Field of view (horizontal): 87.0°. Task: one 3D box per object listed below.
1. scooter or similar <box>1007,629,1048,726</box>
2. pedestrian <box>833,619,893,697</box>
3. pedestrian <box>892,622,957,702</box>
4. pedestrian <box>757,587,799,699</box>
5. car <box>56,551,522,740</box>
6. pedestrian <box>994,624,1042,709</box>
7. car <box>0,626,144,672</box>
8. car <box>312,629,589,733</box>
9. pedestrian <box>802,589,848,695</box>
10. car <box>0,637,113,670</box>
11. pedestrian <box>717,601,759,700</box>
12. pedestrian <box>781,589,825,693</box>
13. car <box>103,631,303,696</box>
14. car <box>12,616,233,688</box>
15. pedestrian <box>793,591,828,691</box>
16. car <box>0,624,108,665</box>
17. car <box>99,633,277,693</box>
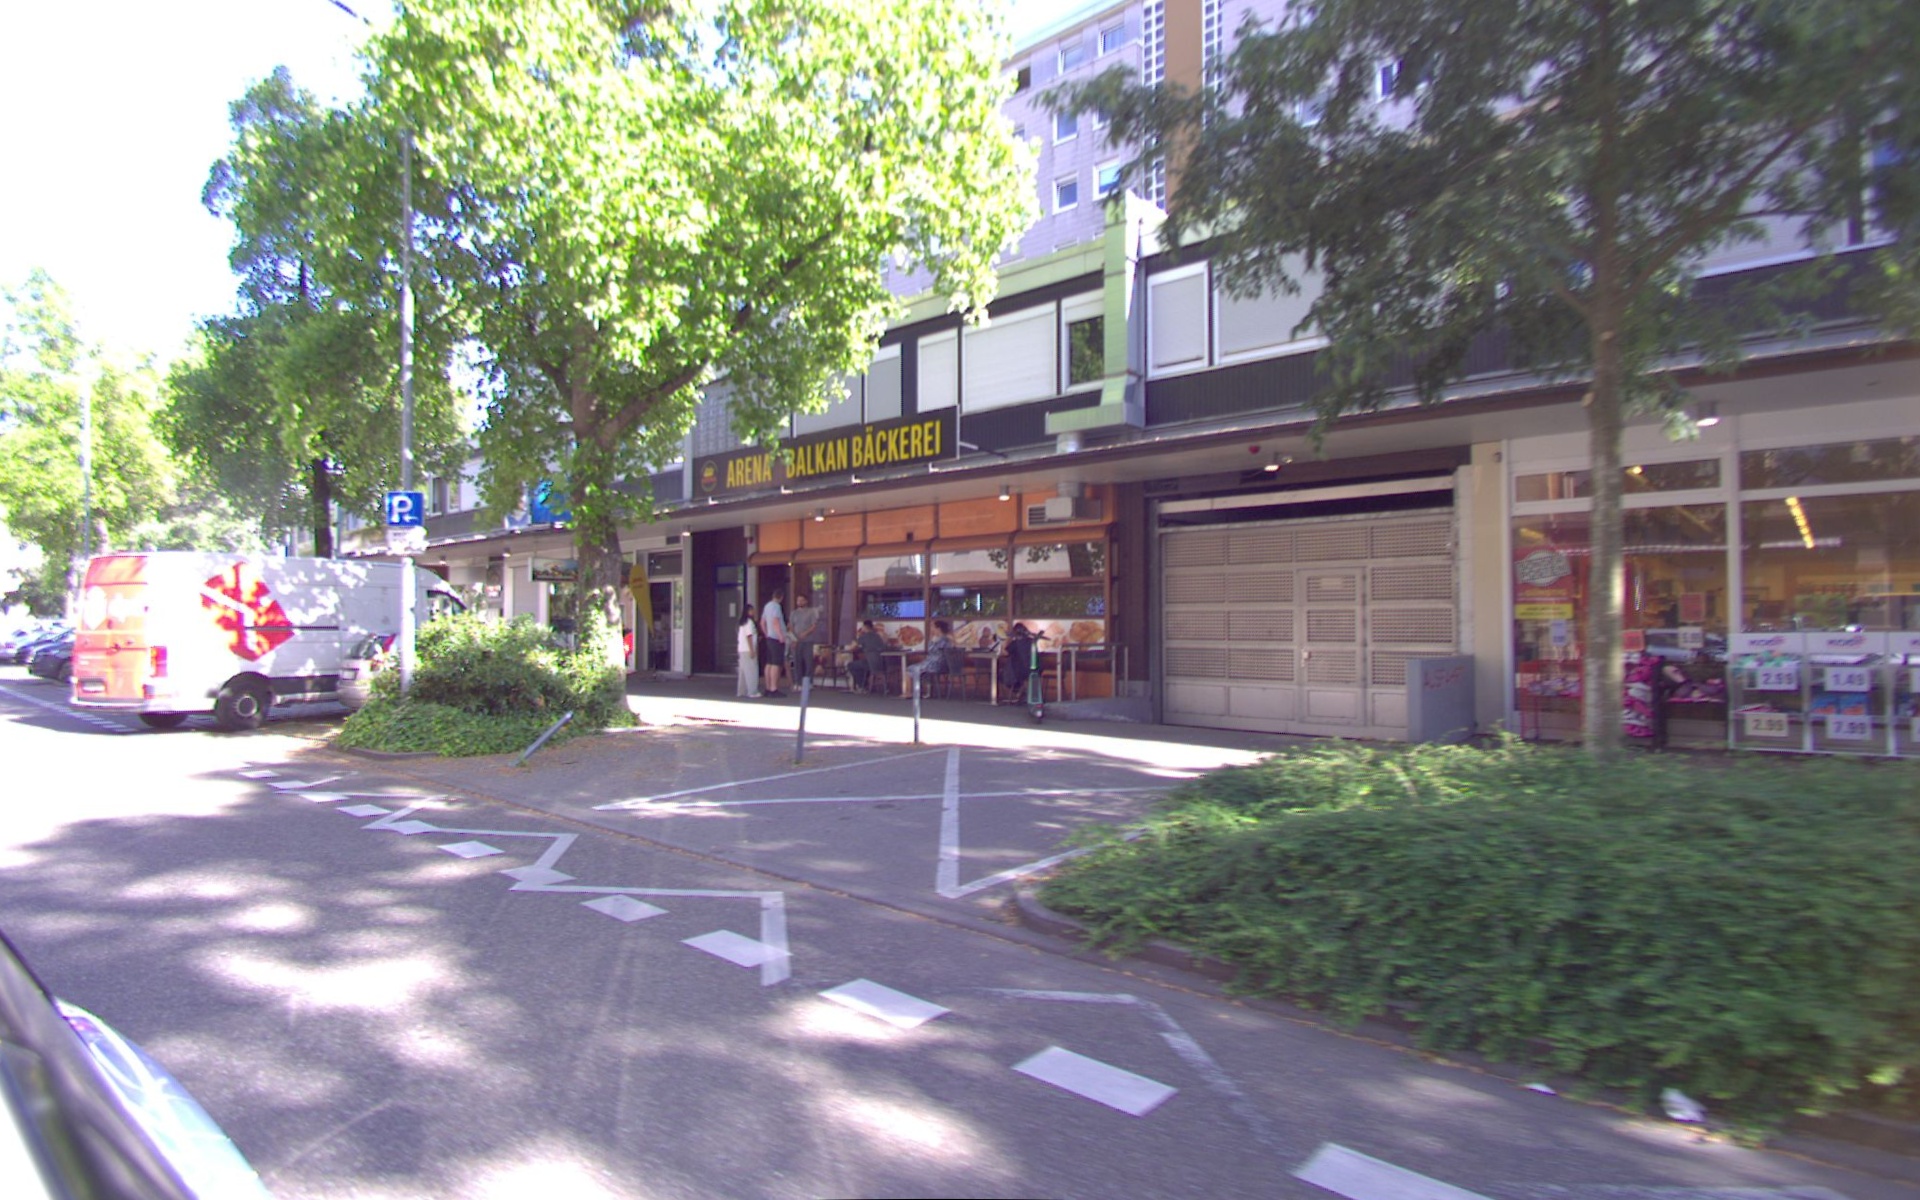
[{"bbox_3d":[0.937,1.025,13.818,0.452,1.232,1.315,-1,-1,8],"label":"scooter or similar"},{"bbox_3d":[-1.757,1.033,18.239,0.953,1.351,0.558,-2,-2,40],"label":"pedestrian"},{"bbox_3d":[-0.591,1.004,16.645,0.898,1.273,0.602,-2,-2,39],"label":"pedestrian"},{"bbox_3d":[-3.244,0.761,18.010,0.590,1.950,0.589,1,-2,-27],"label":"pedestrian"},{"bbox_3d":[-10.495,0.690,16.782,1.985,2.493,6.558,-1,-2,20],"label":"car"},{"bbox_3d":[0.867,0.981,15.180,0.636,1.250,0.325,-2,-2,39],"label":"pedestrian"},{"bbox_3d":[-38.007,2.059,43.191,1.872,1.791,4.720,-2,-2,40],"label":"car"},{"bbox_3d":[-8.060,1.205,16.223,1.831,1.431,3.556,-2,-2,41],"label":"car"},{"bbox_3d":[-2.498,0.776,18.729,0.579,1.918,0.588,-2,-2,40],"label":"pedestrian"},{"bbox_3d":[-40.120,2.340,44.665,1.758,1.409,3.947,-2,-3,40],"label":"car"},{"bbox_3d":[-3.974,0.900,18.121,0.590,1.725,0.589,1,-2,-27],"label":"pedestrian"},{"bbox_3d":[-2.963,0.768,19.133,0.579,1.918,0.588,-2,-3,40],"label":"pedestrian"},{"bbox_3d":[-19.476,1.592,26.154,1.709,1.462,3.877,-2,-1,41],"label":"car"},{"bbox_3d":[-25.432,1.523,30.887,1.872,1.953,4.978,-2,-1,41],"label":"car"},{"bbox_3d":[-2.941,0.794,19.861,0.492,1.918,0.448,-2,-2,40],"label":"pedestrian"},{"bbox_3d":[-46.970,2.246,51.782,1.908,1.984,4.932,-2,-2,40],"label":"car"},{"bbox_3d":[-21.250,1.688,27.960,1.611,1.462,3.630,-2,-1,38],"label":"car"}]
